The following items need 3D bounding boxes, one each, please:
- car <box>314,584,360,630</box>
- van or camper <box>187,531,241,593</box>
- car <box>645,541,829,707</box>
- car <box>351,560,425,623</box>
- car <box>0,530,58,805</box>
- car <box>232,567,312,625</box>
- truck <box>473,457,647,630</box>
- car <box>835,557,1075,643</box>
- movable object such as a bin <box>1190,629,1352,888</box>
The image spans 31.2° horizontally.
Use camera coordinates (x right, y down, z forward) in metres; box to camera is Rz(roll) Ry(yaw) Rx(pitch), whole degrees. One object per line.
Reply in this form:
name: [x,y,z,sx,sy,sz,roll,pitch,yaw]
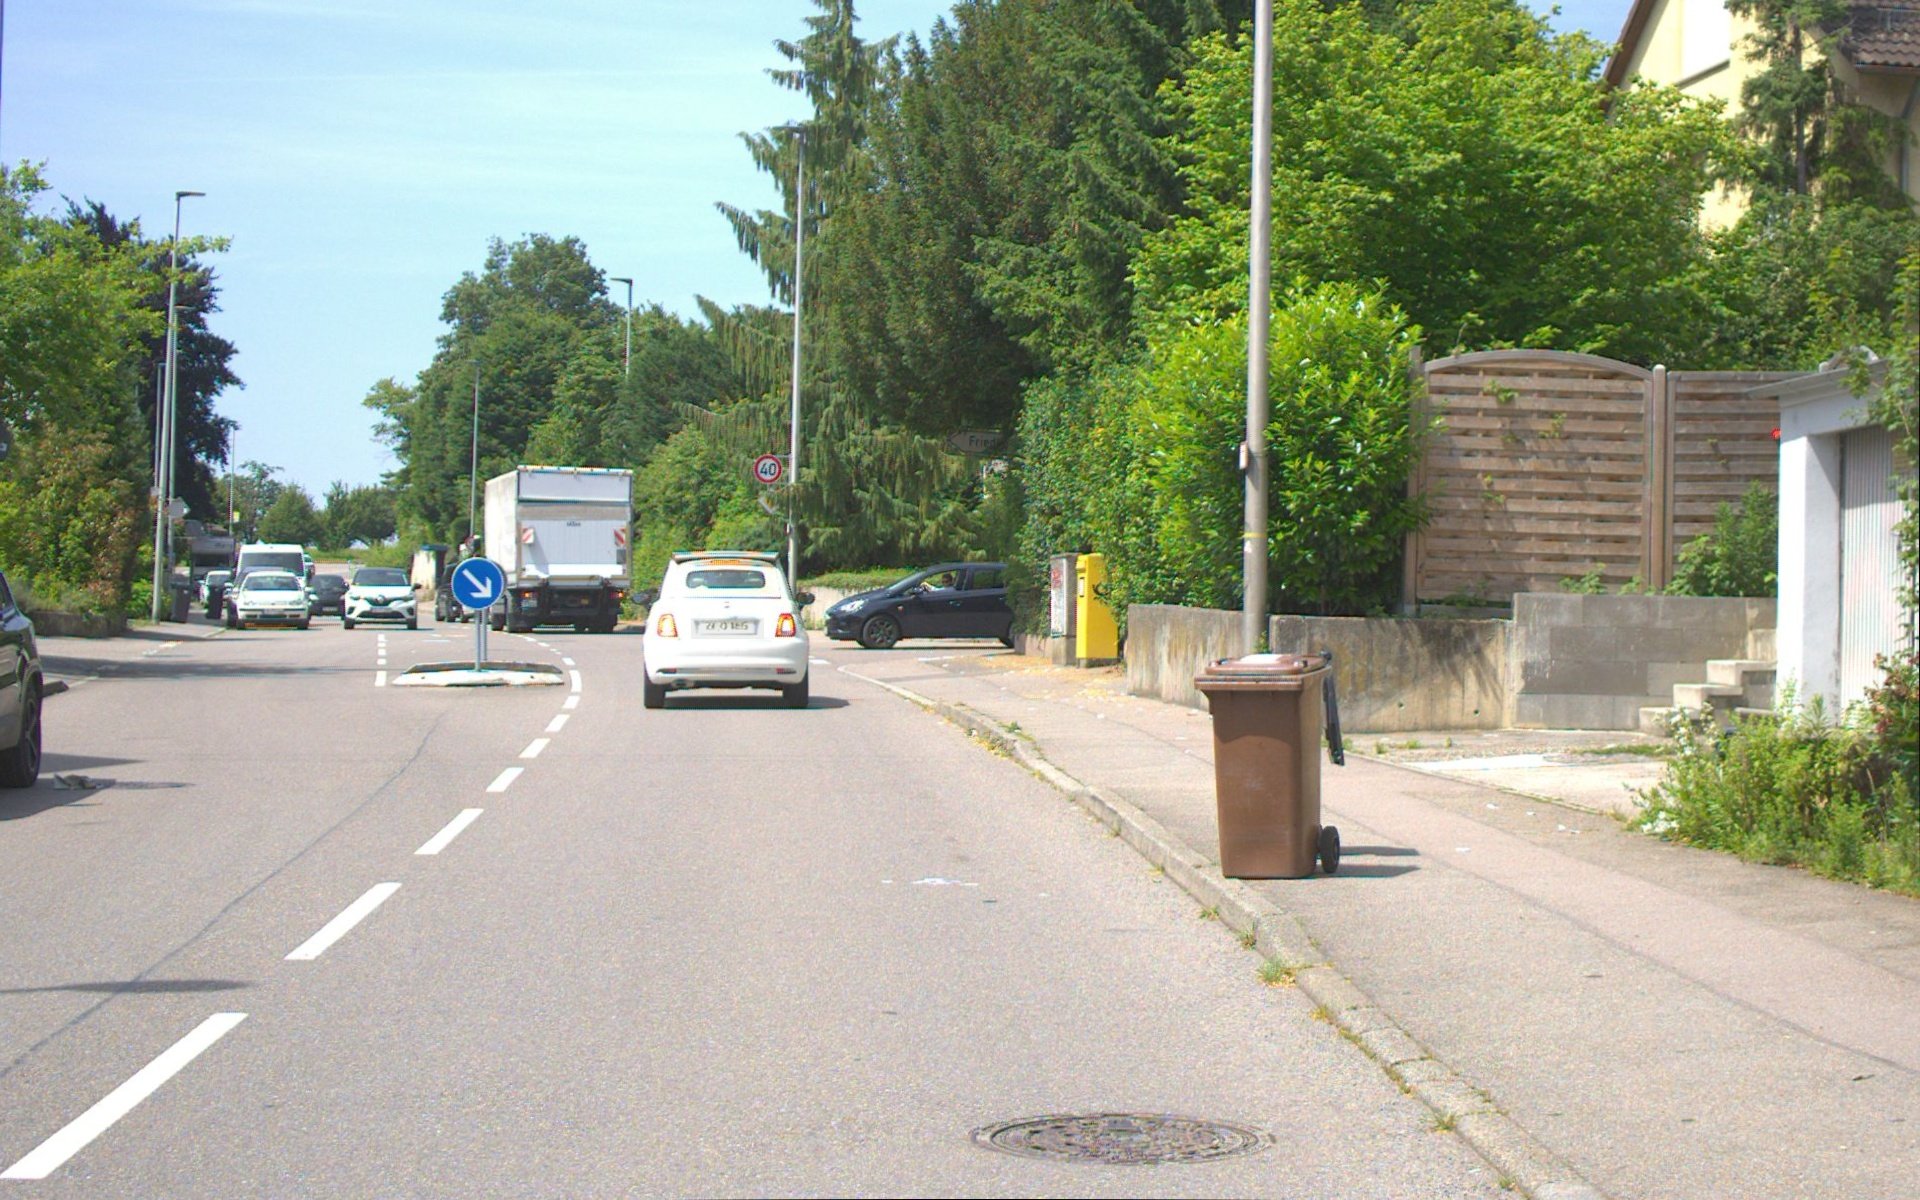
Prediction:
car: [-21.159,0.220,116.753,1.480,1.505,2.801,-1,1,-11]
van or camper: [-36.934,-1.872,170.350,2.264,2.952,5.890,2,0,-10]
car: [-2.303,0.210,34.904,1.724,1.555,4.001,1,0,-5]
car: [-14.423,-0.209,86.790,1.782,1.524,4.172,-1,0,-9]
car: [-6.592,0.406,20.404,1.768,1.630,4.288,-1,1,-6]
car: [-17.140,-0.114,85.600,1.804,1.393,4.001,0,0,-13]
truck: [-9.272,-1.252,78.925,3.067,3.761,7.870,0,0,-13]
car: [-0.108,-0.017,59.078,3.932,1.453,1.659,0,0,-7]
movable object such as a bin: [1.313,0.659,14.453,0.495,1.030,0.548,-3,1,20]
